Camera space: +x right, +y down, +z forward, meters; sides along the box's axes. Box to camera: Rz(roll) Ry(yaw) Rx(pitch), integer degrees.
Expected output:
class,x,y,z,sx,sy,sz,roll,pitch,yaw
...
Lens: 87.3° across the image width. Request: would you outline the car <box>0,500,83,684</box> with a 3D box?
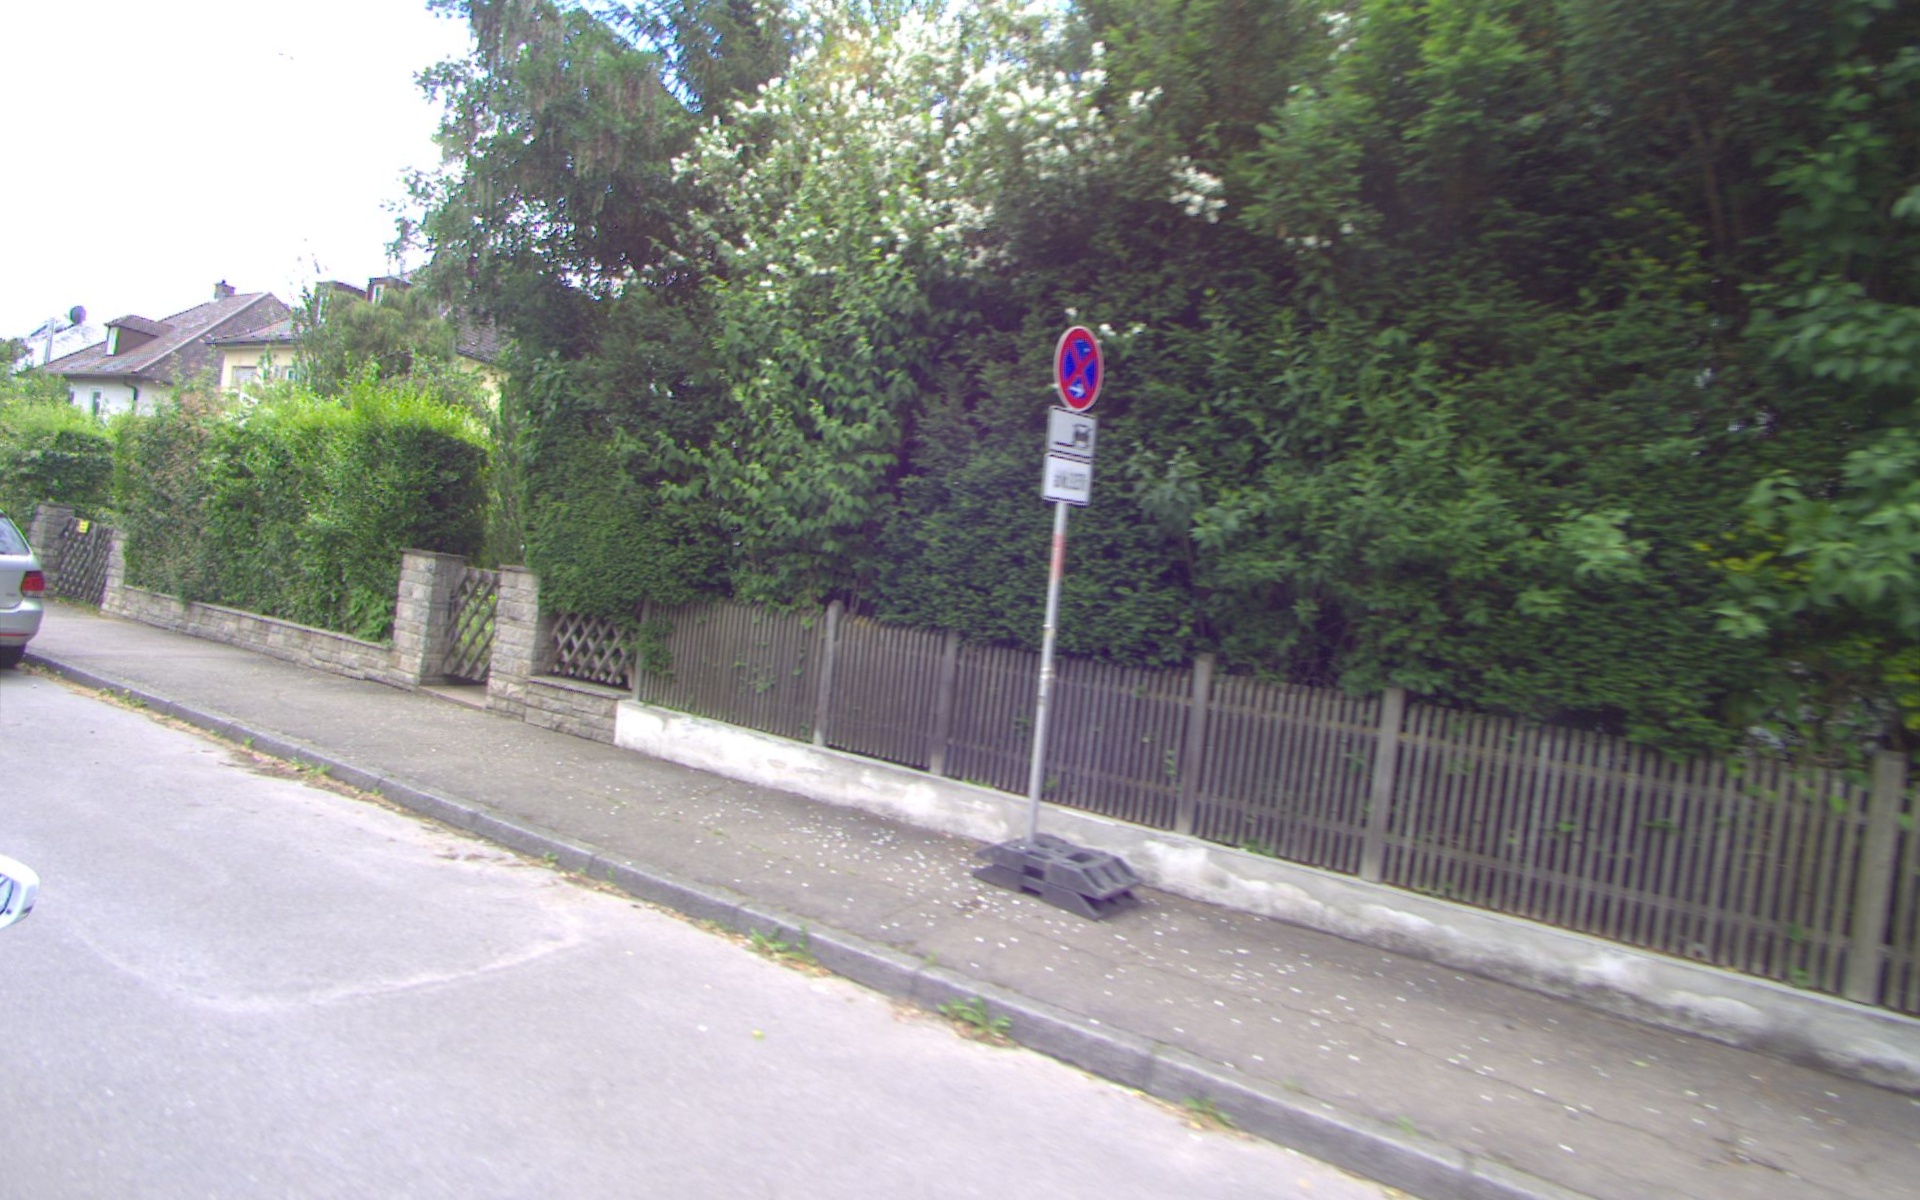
class,x,y,z,sx,sy,sz,roll,pitch,yaw
car,-9.882,-0.304,8.911,4.283,1.494,1.760,6,-1,29
